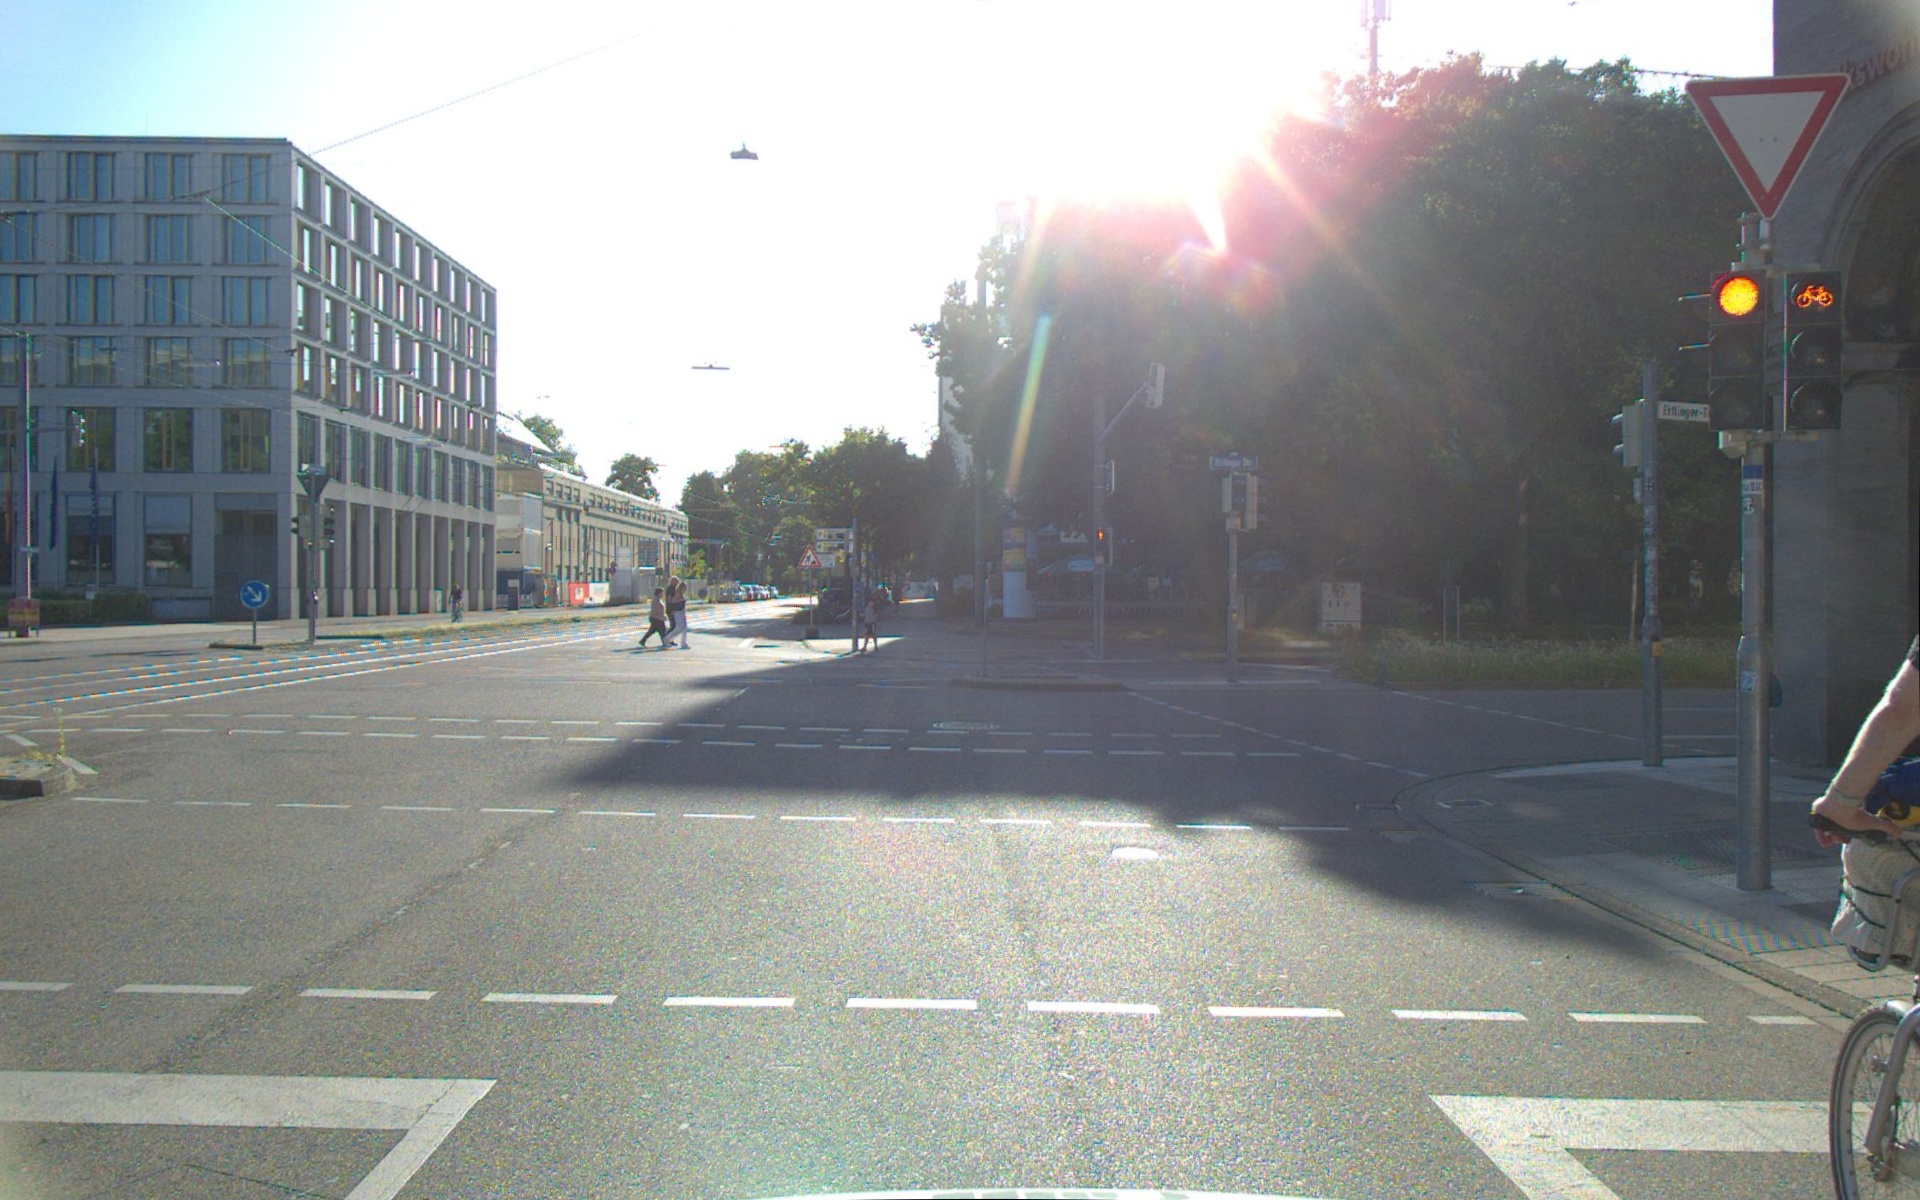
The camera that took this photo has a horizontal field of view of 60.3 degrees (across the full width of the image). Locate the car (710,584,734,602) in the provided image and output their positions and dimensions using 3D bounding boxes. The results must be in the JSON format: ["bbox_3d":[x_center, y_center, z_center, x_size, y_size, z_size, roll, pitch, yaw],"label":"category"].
[{"bbox_3d":[-22.346,-0.628,155.596,1.695,1.682,3.999,0,0,-1],"label":"car"}]

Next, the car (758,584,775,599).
[{"bbox_3d":[-22.635,-0.968,193.540,1.453,1.780,3.999,0,0,-1],"label":"car"}]

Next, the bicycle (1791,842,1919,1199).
[{"bbox_3d":[2.043,1.041,2.948,0.381,0.921,1.952,0,0,8],"label":"bicycle"}]

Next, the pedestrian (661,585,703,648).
[{"bbox_3d":[-7.217,0.423,43.003,0.964,1.615,0.660,0,-1,1],"label":"pedestrian"}]

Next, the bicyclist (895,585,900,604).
[{"bbox_3d":[-3.724,-0.339,98.987,0.312,1.147,0.291,0,0,-1],"label":"bicyclist"}]

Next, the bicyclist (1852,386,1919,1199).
[{"bbox_3d":[2.059,0.466,2.882,0.656,1.707,0.657,0,0,2],"label":"bicyclist"}]

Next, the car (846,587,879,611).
[{"bbox_3d":[-5.396,-0.053,91.601,1.783,1.301,3.998,0,0,-3],"label":"car"}]

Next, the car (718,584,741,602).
[{"bbox_3d":[-22.206,-0.676,159.720,1.695,1.682,3.999,0,0,-1],"label":"car"}]

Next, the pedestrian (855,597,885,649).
[{"bbox_3d":[-2.413,0.610,44.277,0.737,1.356,0.742,0,0,0],"label":"pedestrian"}]

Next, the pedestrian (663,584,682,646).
[{"bbox_3d":[-7.812,0.409,44.953,0.432,1.692,0.376,0,0,-2],"label":"pedestrian"}]

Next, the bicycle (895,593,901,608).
[{"bbox_3d":[-3.719,0.035,99.059,0.317,0.883,1.483,0,0,-1],"label":"bicycle"}]

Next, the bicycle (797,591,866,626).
[{"bbox_3d":[-5.225,0.336,67.052,2.688,1.391,0.631,1,-1,10],"label":"bicycle"}]

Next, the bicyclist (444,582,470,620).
[{"bbox_3d":[-21.859,0.041,71.839,0.857,1.670,0.822,0,0,0],"label":"bicyclist"}]

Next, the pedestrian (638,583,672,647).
[{"bbox_3d":[-7.999,0.388,43.384,0.779,1.668,0.533,0,0,2],"label":"pedestrian"}]

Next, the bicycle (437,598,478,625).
[{"bbox_3d":[-21.869,0.483,72.037,0.857,1.140,3.013,0,0,0],"label":"bicycle"}]
